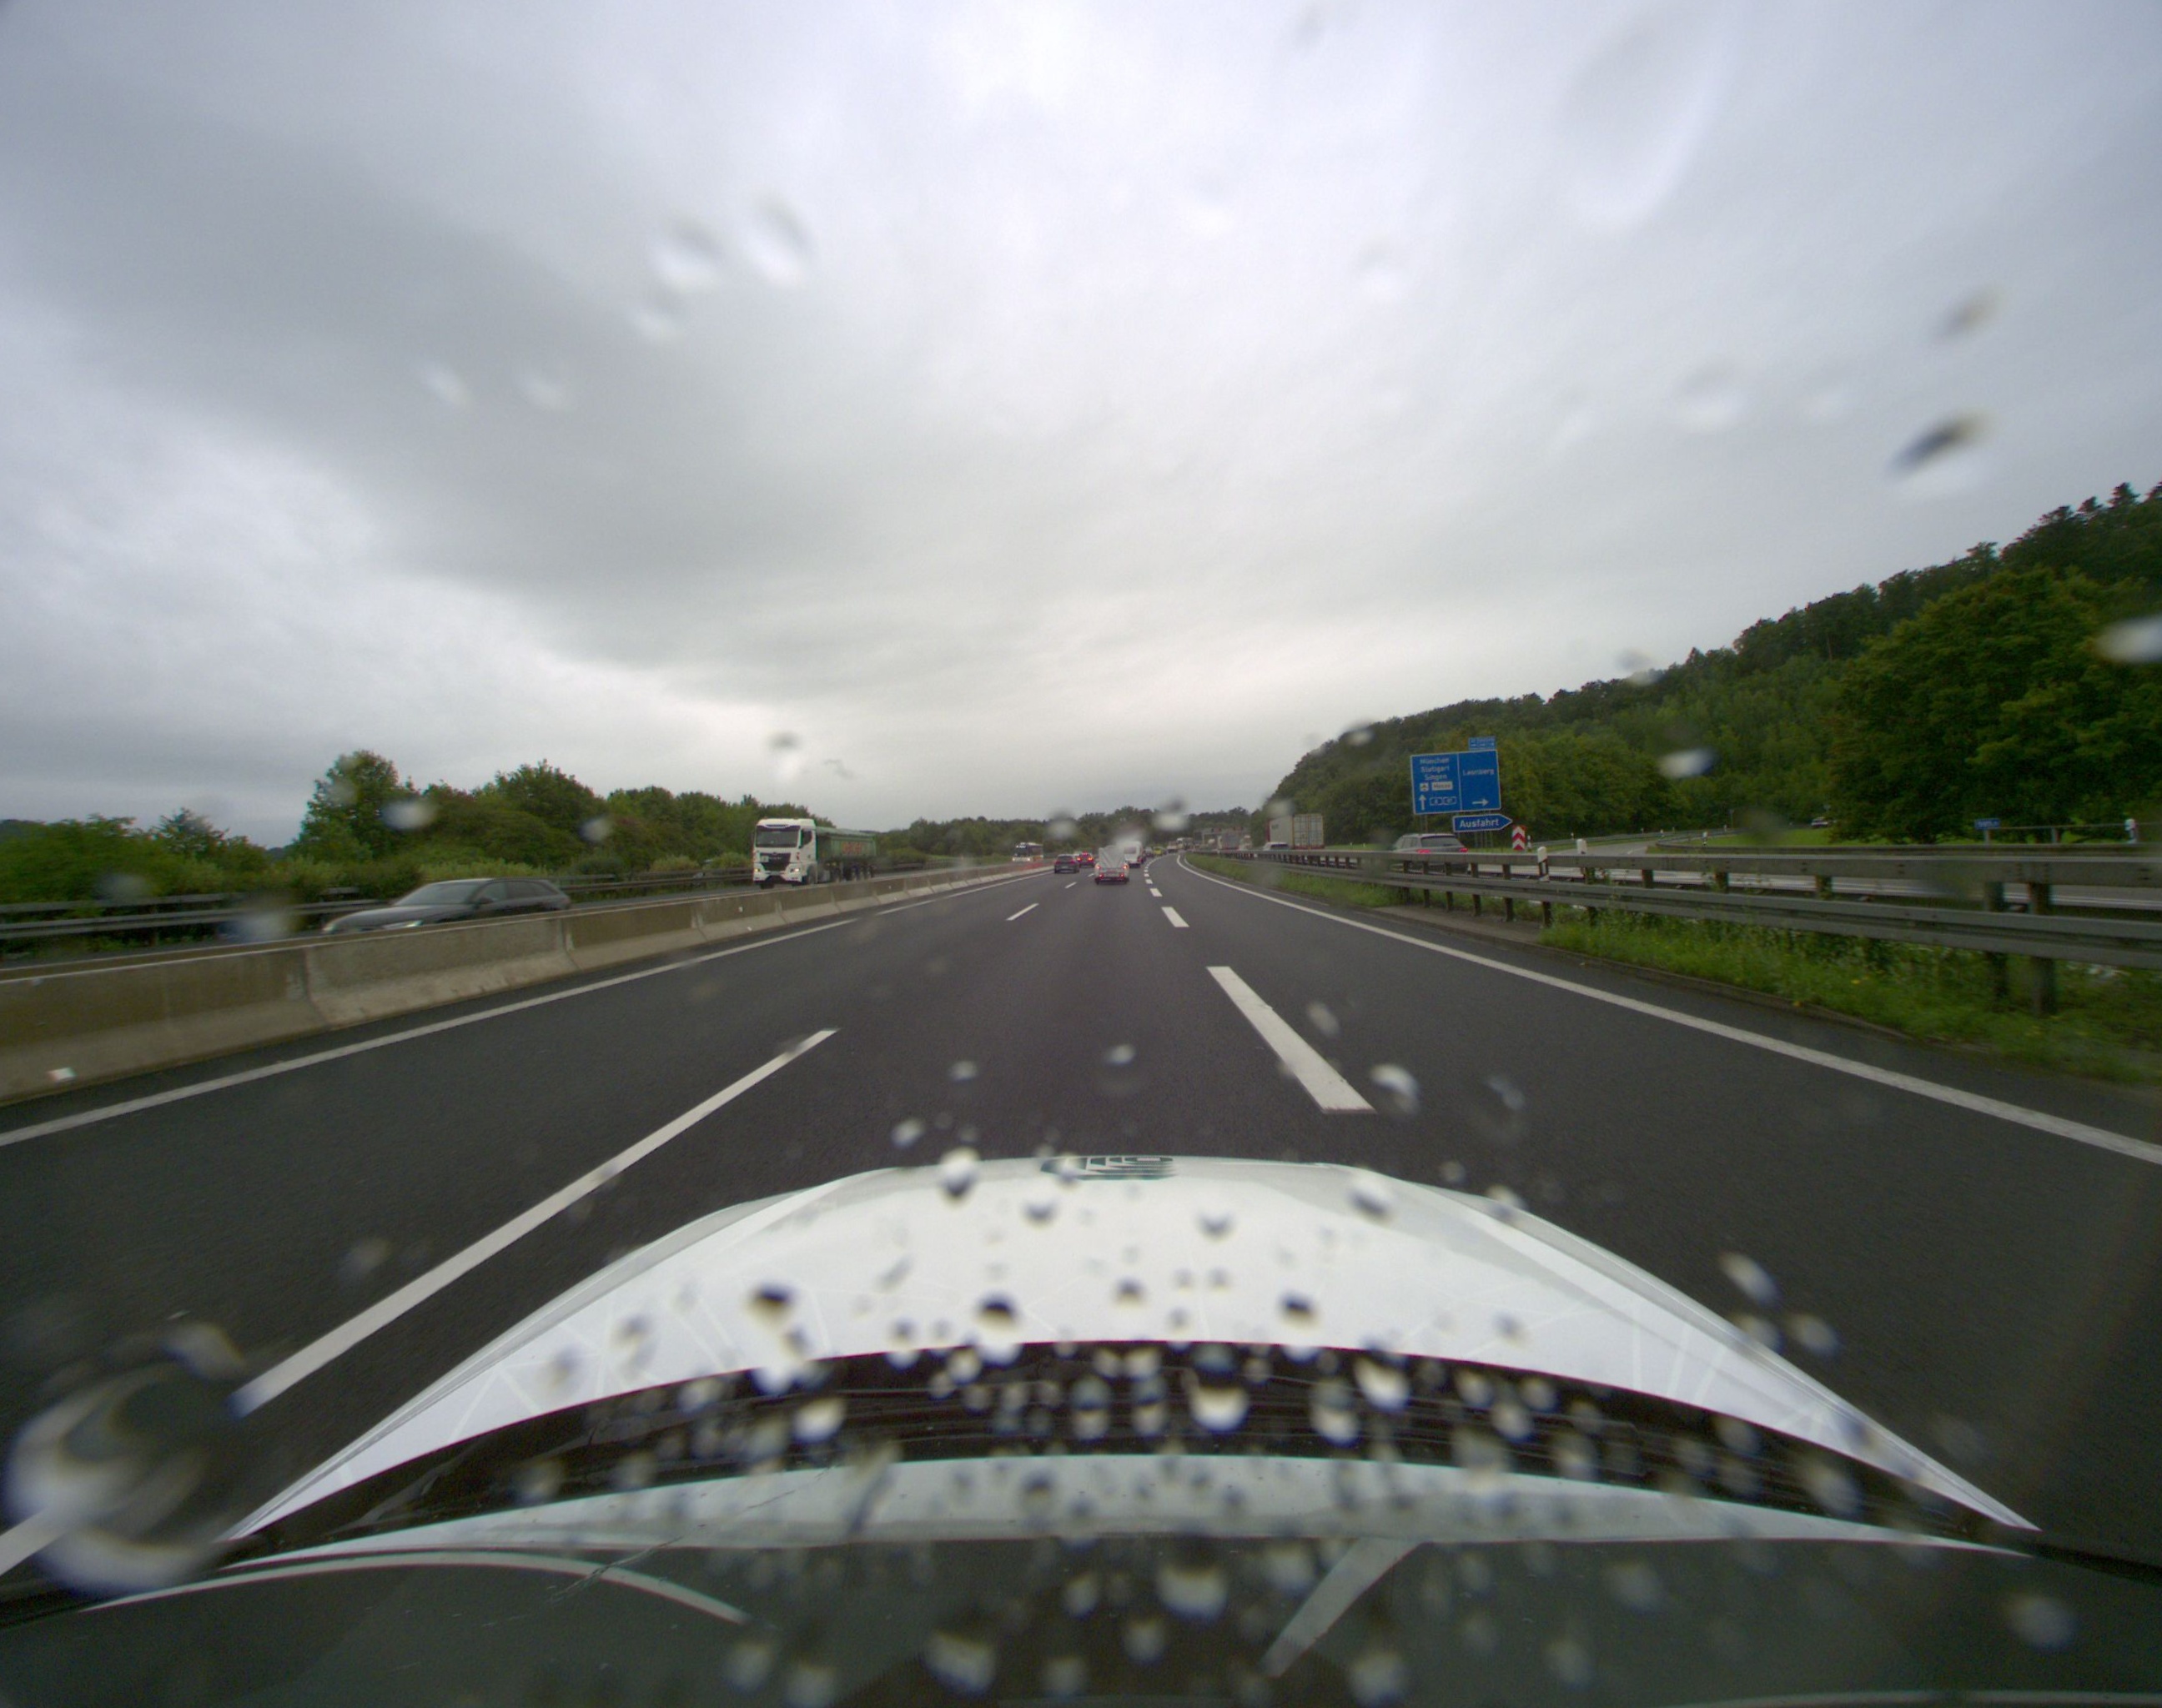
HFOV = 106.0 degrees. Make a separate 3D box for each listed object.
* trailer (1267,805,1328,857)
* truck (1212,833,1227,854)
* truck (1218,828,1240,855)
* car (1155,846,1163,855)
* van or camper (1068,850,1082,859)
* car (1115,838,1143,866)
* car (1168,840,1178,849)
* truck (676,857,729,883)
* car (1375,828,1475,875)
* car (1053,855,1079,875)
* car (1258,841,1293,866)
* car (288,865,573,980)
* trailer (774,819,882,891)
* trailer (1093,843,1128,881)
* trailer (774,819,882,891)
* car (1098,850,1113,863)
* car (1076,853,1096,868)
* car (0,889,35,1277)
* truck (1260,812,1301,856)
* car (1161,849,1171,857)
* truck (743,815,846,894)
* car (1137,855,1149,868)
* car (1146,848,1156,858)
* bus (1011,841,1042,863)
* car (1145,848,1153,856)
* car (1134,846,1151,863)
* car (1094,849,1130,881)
[{"bbox_3d":[18.122,-1.736,68.978,2.592,3.894,12.503,-2,0,4],"label":"trailer"},{"bbox_3d":[32.987,-2.359,193.510,3.195,4.666,13.069,-2,0,10],"label":"truck"},{"bbox_3d":[26.996,-2.179,148.863,3.198,4.666,13.060,-2,0,8],"label":"truck"},{"bbox_3d":[16.746,-0.797,175.016,1.667,1.812,4.008,-2,0,7],"label":"car"},{"bbox_3d":[-1.104,0.071,147.326,1.737,1.447,4.598,-3,0,10],"label":"van or camper"},{"bbox_3d":[4.804,-0.191,81.039,2.495,2.585,5.708,-2,0,5],"label":"car"},{"bbox_3d":[25.700,-2.638,227.833,2.501,2.574,5.324,-2,0,8],"label":"car"},{"bbox_3d":[-34.958,1.455,75.489,2.019,2.241,6.157,-2,0,-1],"label":"truck"},{"bbox_3d":[11.604,-0.079,27.778,1.661,1.382,4.127,-4,0,1],"label":"car"},{"bbox_3d":[-1.163,0.824,64.149,1.669,1.456,4.003,-2,0,3],"label":"car"},{"bbox_3d":[13.724,-0.024,57.680,1.761,1.610,4.650,-2,0,5],"label":"car"},{"bbox_3d":[-12.581,1.205,16.233,1.888,1.876,4.544,-2,0,2],"label":"car"},{"bbox_3d":[-14.512,0.066,47.623,2.890,3.749,8.936,-2,0,4],"label":"trailer"},{"bbox_3d":[1.551,0.391,41.719,1.669,1.812,4.003,-2,0,3],"label":"trailer"},{"bbox_3d":[-14.512,0.066,47.623,2.890,3.749,8.936,-2,0,4],"label":"trailer"},{"bbox_3d":[3.157,0.361,105.159,1.768,1.640,4.046,-2,0,3],"label":"car"},{"bbox_3d":[0.544,0.622,83.574,1.757,1.456,4.006,-2,0,5],"label":"car"},{"bbox_3d":[-5.097,0.880,0.808,1.811,1.456,4.781,-2,0,3],"label":"car"},{"bbox_3d":[18.555,-1.749,76.050,2.604,3.884,6.398,-2,0,4],"label":"truck"},{"bbox_3d":[20.318,-0.240,194.811,2.024,1.683,4.012,-2,0,11],"label":"car"},{"bbox_3d":[-14.834,0.046,42.670,2.874,3.749,5.950,-2,0,3],"label":"truck"},{"bbox_3d":[8.989,1.088,117.582,1.668,1.812,4.004,-2,0,4],"label":"car"},{"bbox_3d":[12.492,-0.178,146.151,1.668,1.812,4.004,-2,0,4],"label":"car"},{"bbox_3d":[-7.946,-0.233,120.983,2.686,2.958,11.913,-5,-1,5],"label":"bus"},{"bbox_3d":[17.849,-0.600,213.583,1.984,2.014,4.005,-2,0,4],"label":"car"},{"bbox_3d":[7.619,0.068,100.586,1.666,2.067,4.009,-2,0,8],"label":"car"},{"bbox_3d":[1.752,0.587,45.195,1.811,1.616,4.782,-2,0,4],"label":"car"}]
